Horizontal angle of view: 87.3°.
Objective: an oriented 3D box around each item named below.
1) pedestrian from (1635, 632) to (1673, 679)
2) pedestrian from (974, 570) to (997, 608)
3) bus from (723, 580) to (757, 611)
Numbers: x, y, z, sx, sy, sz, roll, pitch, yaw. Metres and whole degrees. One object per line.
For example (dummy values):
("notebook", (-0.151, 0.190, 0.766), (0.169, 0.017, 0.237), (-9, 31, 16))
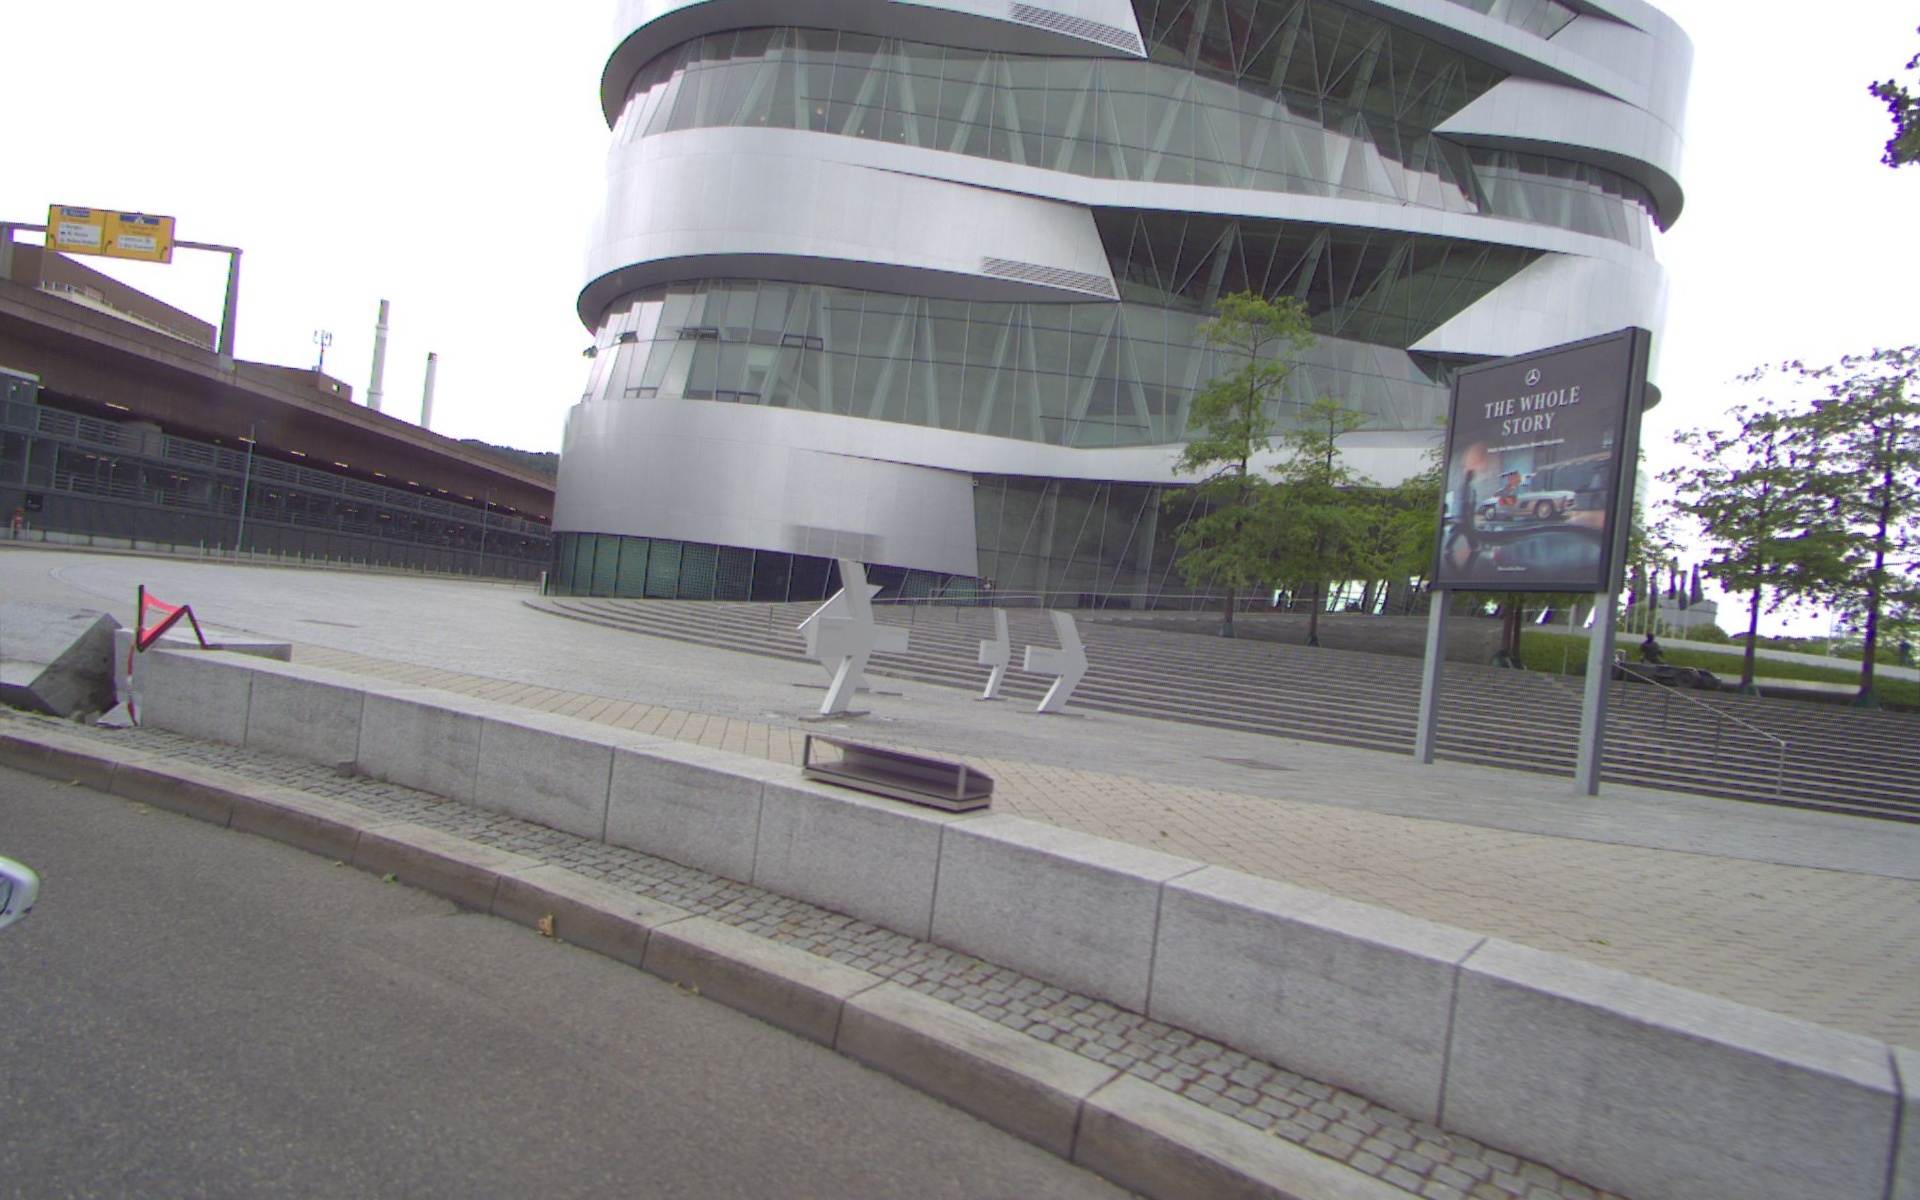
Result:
("pedestrian", (22.315, 1.785, 32.347), (0.679, 1.403, 0.781), (8, -1, -44))
("pedestrian", (1.317, -0.567, 52.549), (0.936, 1.949, 0.851), (3, 0, -10))
("bus", (-28.817, -0.529, 132.123), (2.879, 3.480, 6.969), (7, -2, -3))
